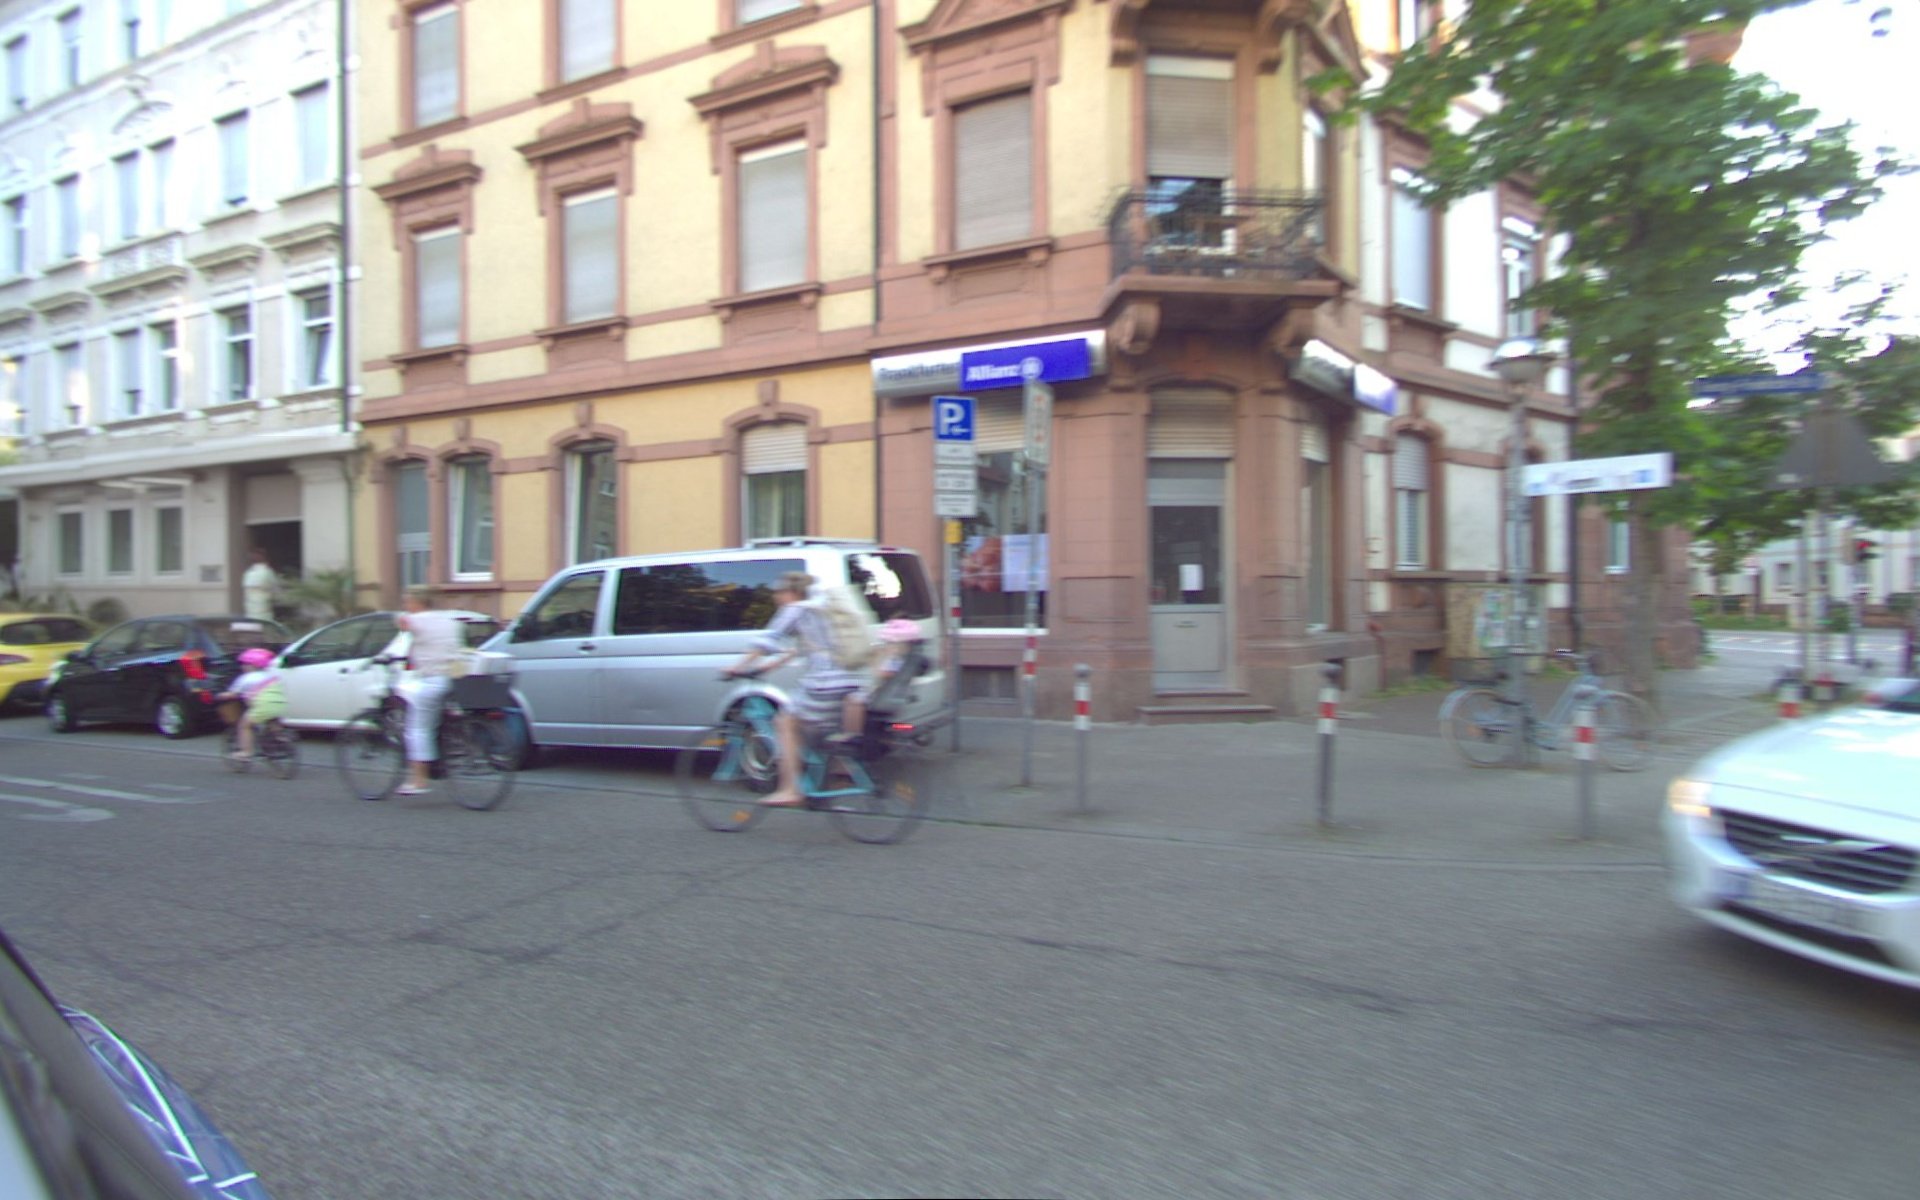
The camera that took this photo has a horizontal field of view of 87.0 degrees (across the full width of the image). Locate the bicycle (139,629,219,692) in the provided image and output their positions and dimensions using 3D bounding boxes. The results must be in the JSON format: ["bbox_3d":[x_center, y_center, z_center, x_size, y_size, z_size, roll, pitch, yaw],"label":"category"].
[{"bbox_3d":[-14.919,1.136,19.321,1.854,1.149,0.477,-2,-1,27],"label":"bicycle"}]

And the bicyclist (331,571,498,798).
[{"bbox_3d":[-4.100,0.600,7.627,0.869,1.595,0.721,-1,-1,21],"label":"bicyclist"}]

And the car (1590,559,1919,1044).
[{"bbox_3d":[5.301,0.612,3.895,4.761,1.528,2.005,-1,0,-11],"label":"car"}]

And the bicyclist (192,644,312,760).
[{"bbox_3d":[-6.488,0.906,9.285,0.726,0.984,0.642,-1,-1,27],"label":"bicyclist"}]

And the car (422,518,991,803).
[{"bbox_3d":[-2.407,0.448,9.390,4.979,2.072,2.029,-1,1,27],"label":"car"}]

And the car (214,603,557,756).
[{"bbox_3d":[-6.699,0.838,11.806,3.592,1.502,1.676,-1,1,25],"label":"car"}]

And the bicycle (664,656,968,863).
[{"bbox_3d":[-0.906,0.924,6.309,1.797,1.103,0.680,-1,-1,24],"label":"bicycle"}]

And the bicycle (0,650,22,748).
[{"bbox_3d":[-12.006,1.151,11.807,1.999,1.115,0.718,-1,-1,20],"label":"bicycle"}]

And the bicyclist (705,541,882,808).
[{"bbox_3d":[-1.040,0.439,6.375,0.870,1.556,0.673,-1,-1,24],"label":"bicyclist"}]

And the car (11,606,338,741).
[{"bbox_3d":[-10.215,0.885,13.181,3.717,1.502,1.722,-1,1,22],"label":"car"}]

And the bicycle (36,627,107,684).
[{"bbox_3d":[-18.601,1.153,21.168,1.854,1.149,0.477,-2,-1,27],"label":"bicycle"}]

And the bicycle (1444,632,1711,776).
[{"bbox_3d":[5.034,0.831,8.352,1.780,1.091,0.558,-1,1,14],"label":"bicycle"}]

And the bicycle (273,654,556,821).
[{"bbox_3d":[-4.117,0.979,7.631,2.032,1.103,0.724,-1,-1,21],"label":"bicycle"}]

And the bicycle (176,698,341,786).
[{"bbox_3d":[-6.415,1.270,9.243,1.456,0.647,0.645,-1,-1,28],"label":"bicycle"}]

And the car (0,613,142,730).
[{"bbox_3d":[-15.135,1.052,15.684,4.772,1.537,1.830,-1,1,24],"label":"car"}]
